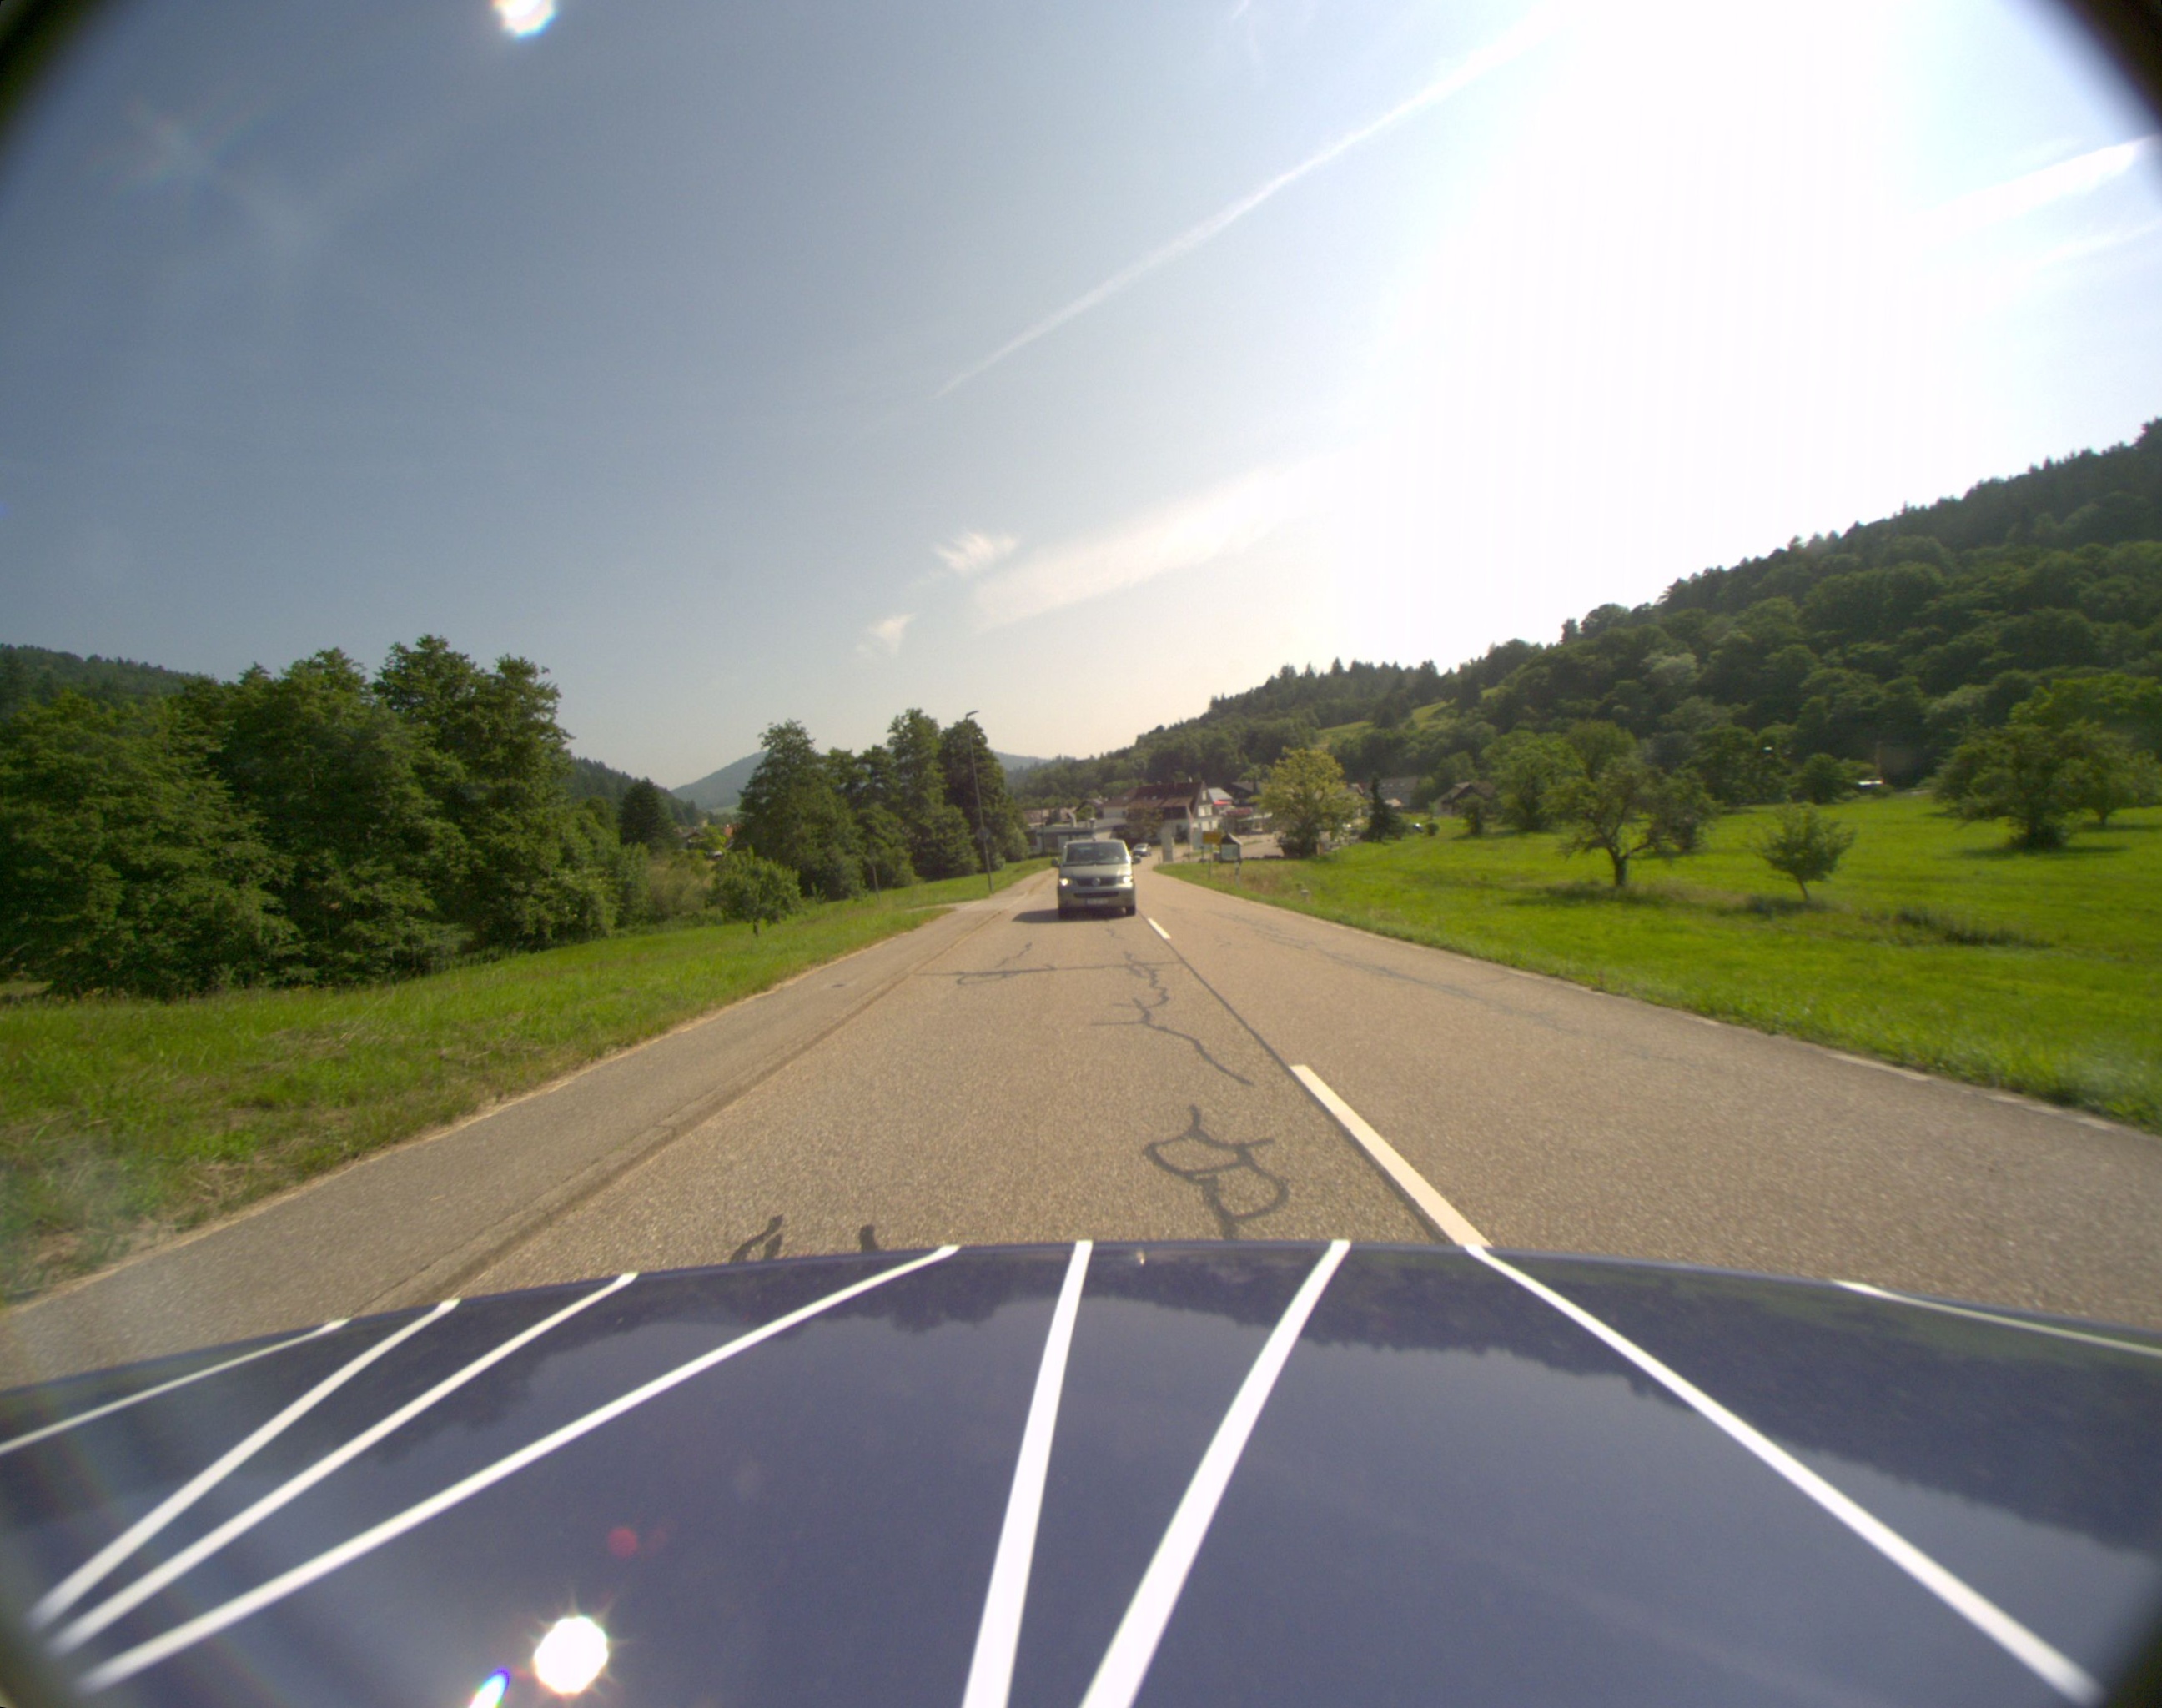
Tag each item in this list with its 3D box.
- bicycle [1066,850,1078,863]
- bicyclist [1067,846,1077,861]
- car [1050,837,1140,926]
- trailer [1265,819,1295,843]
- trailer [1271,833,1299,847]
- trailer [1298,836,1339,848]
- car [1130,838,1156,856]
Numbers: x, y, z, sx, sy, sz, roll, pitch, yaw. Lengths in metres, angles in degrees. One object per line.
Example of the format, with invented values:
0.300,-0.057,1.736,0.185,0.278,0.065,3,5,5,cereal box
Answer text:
-0.784,0.205,68.157,0.580,1.029,1.992,1,4,16,bicycle
-0.787,-0.037,68.338,0.580,1.335,1.146,1,4,16,bicyclist
0.307,0.617,19.950,2.024,1.970,5.048,-2,0,0,car
27.268,-3.125,103.992,3.394,2.896,1.886,-3,3,28,trailer
26.264,-1.830,97.748,1.995,1.220,5.552,-3,3,30,trailer
26.299,-1.319,84.105,3.935,0.934,1.870,-3,4,32,trailer
7.441,-0.826,91.457,1.764,1.737,3.983,-3,5,24,car
